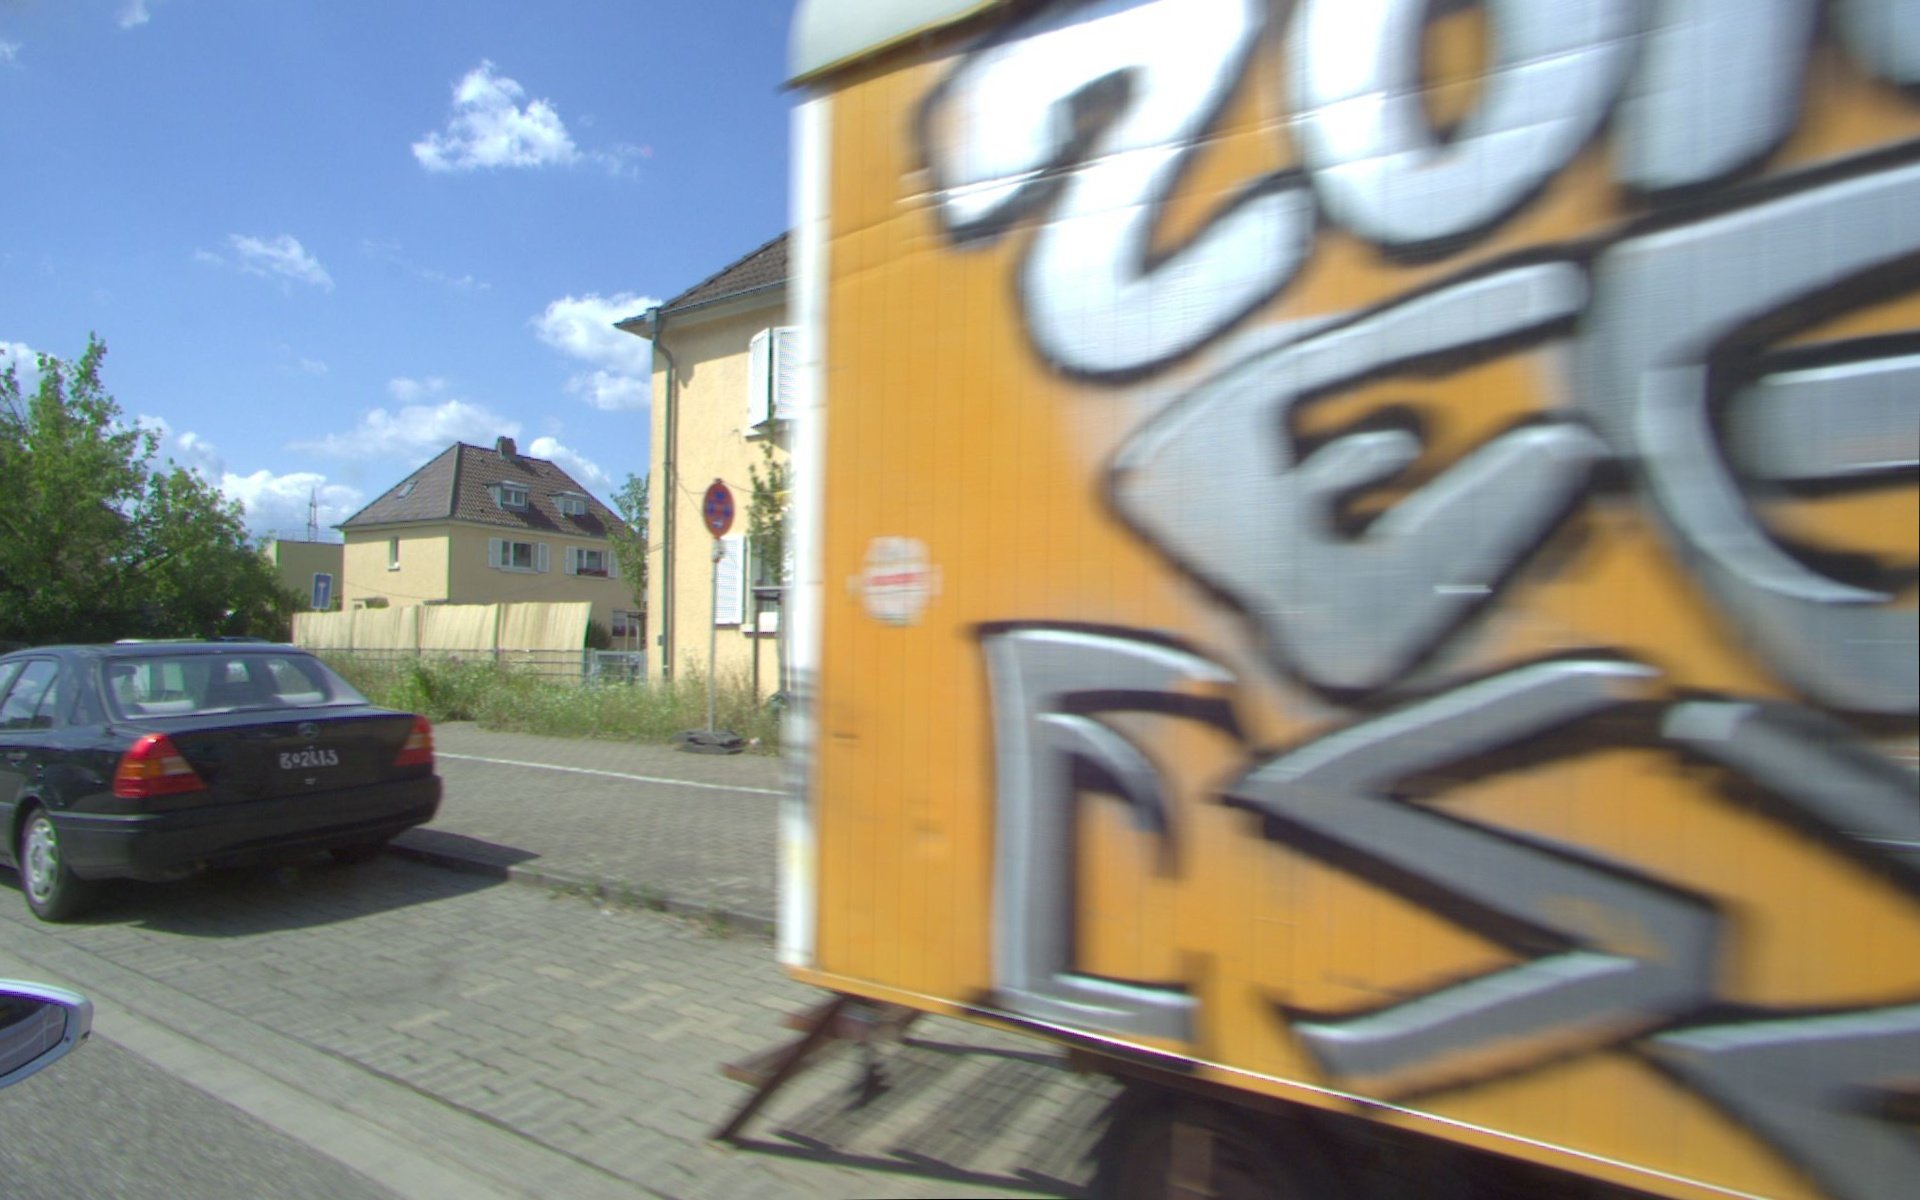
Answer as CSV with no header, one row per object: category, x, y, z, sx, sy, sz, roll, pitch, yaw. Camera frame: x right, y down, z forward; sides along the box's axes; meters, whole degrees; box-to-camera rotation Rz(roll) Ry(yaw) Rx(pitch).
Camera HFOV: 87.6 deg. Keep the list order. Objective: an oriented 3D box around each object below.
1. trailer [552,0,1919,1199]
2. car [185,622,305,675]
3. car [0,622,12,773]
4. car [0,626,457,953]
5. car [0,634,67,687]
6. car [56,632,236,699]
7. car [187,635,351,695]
trailer,2.008,-0.079,1.883,5.008,3.267,2.687,-1,-2,31
car,-23.515,1.547,32.901,4.025,1.568,1.634,0,1,29
car,-11.755,0.942,10.247,4.763,1.467,1.705,-1,-2,30
car,-5.257,0.914,6.328,4.387,1.467,1.576,-1,-2,30
car,-26.266,1.616,27.502,4.031,1.372,1.633,-1,-2,34
car,-18.646,1.459,22.929,4.022,1.391,1.637,0,-2,26
car,-17.540,1.613,25.395,4.022,1.391,1.637,0,-2,26
